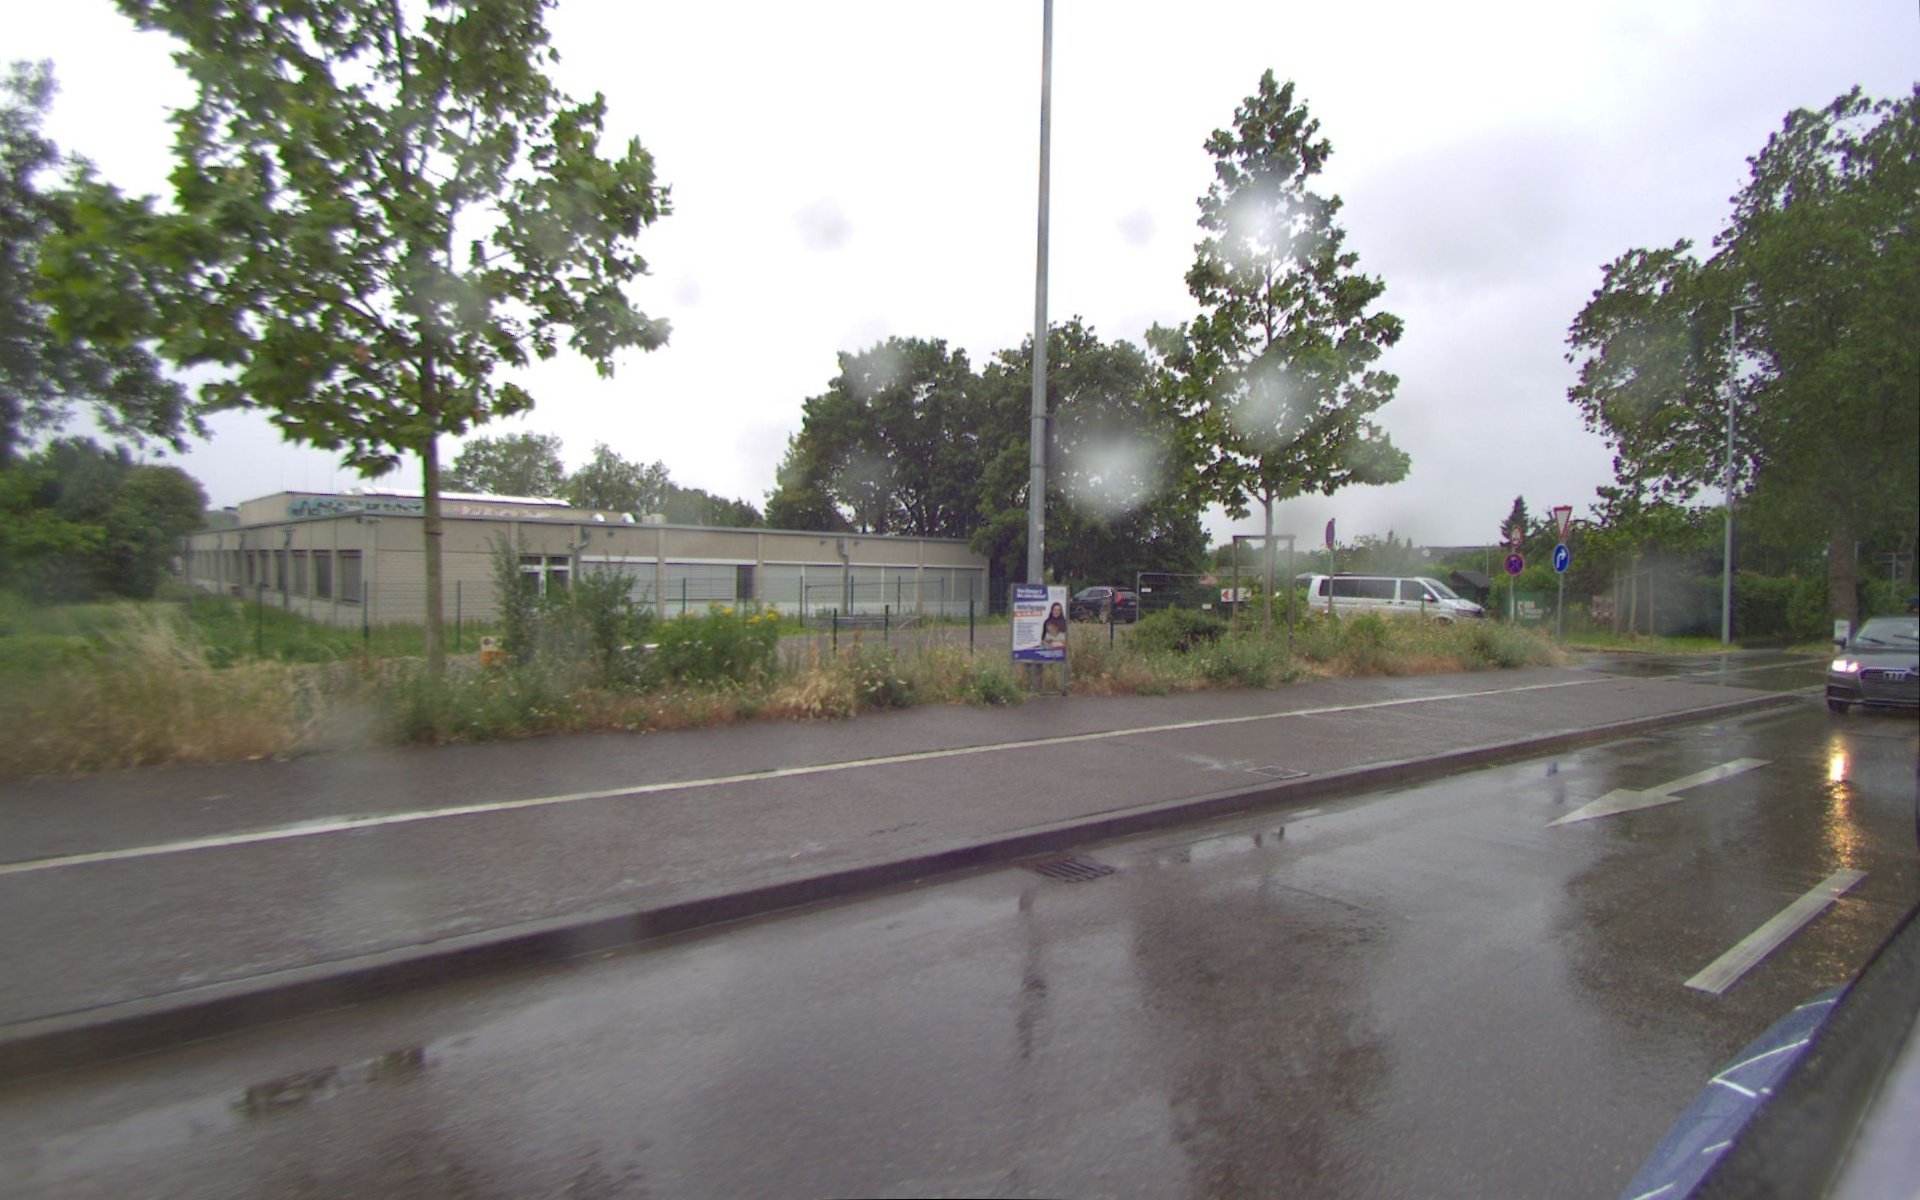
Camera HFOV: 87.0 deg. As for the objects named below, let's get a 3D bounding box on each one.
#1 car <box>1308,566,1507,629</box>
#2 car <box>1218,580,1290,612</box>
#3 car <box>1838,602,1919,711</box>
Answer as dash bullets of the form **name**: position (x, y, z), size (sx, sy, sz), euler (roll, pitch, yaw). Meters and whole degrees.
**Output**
- **car**: position (13.431, -0.079, 30.660), size (1.973, 1.747, 5.165), euler (-1, 0, -43)
- **car**: position (15.408, -0.227, 53.090), size (1.320, 1.604, 3.554), euler (0, 0, -37)
- **car**: position (13.950, 0.759, 14.484), size (3.568, 1.383, 1.600), euler (0, 2, -41)
